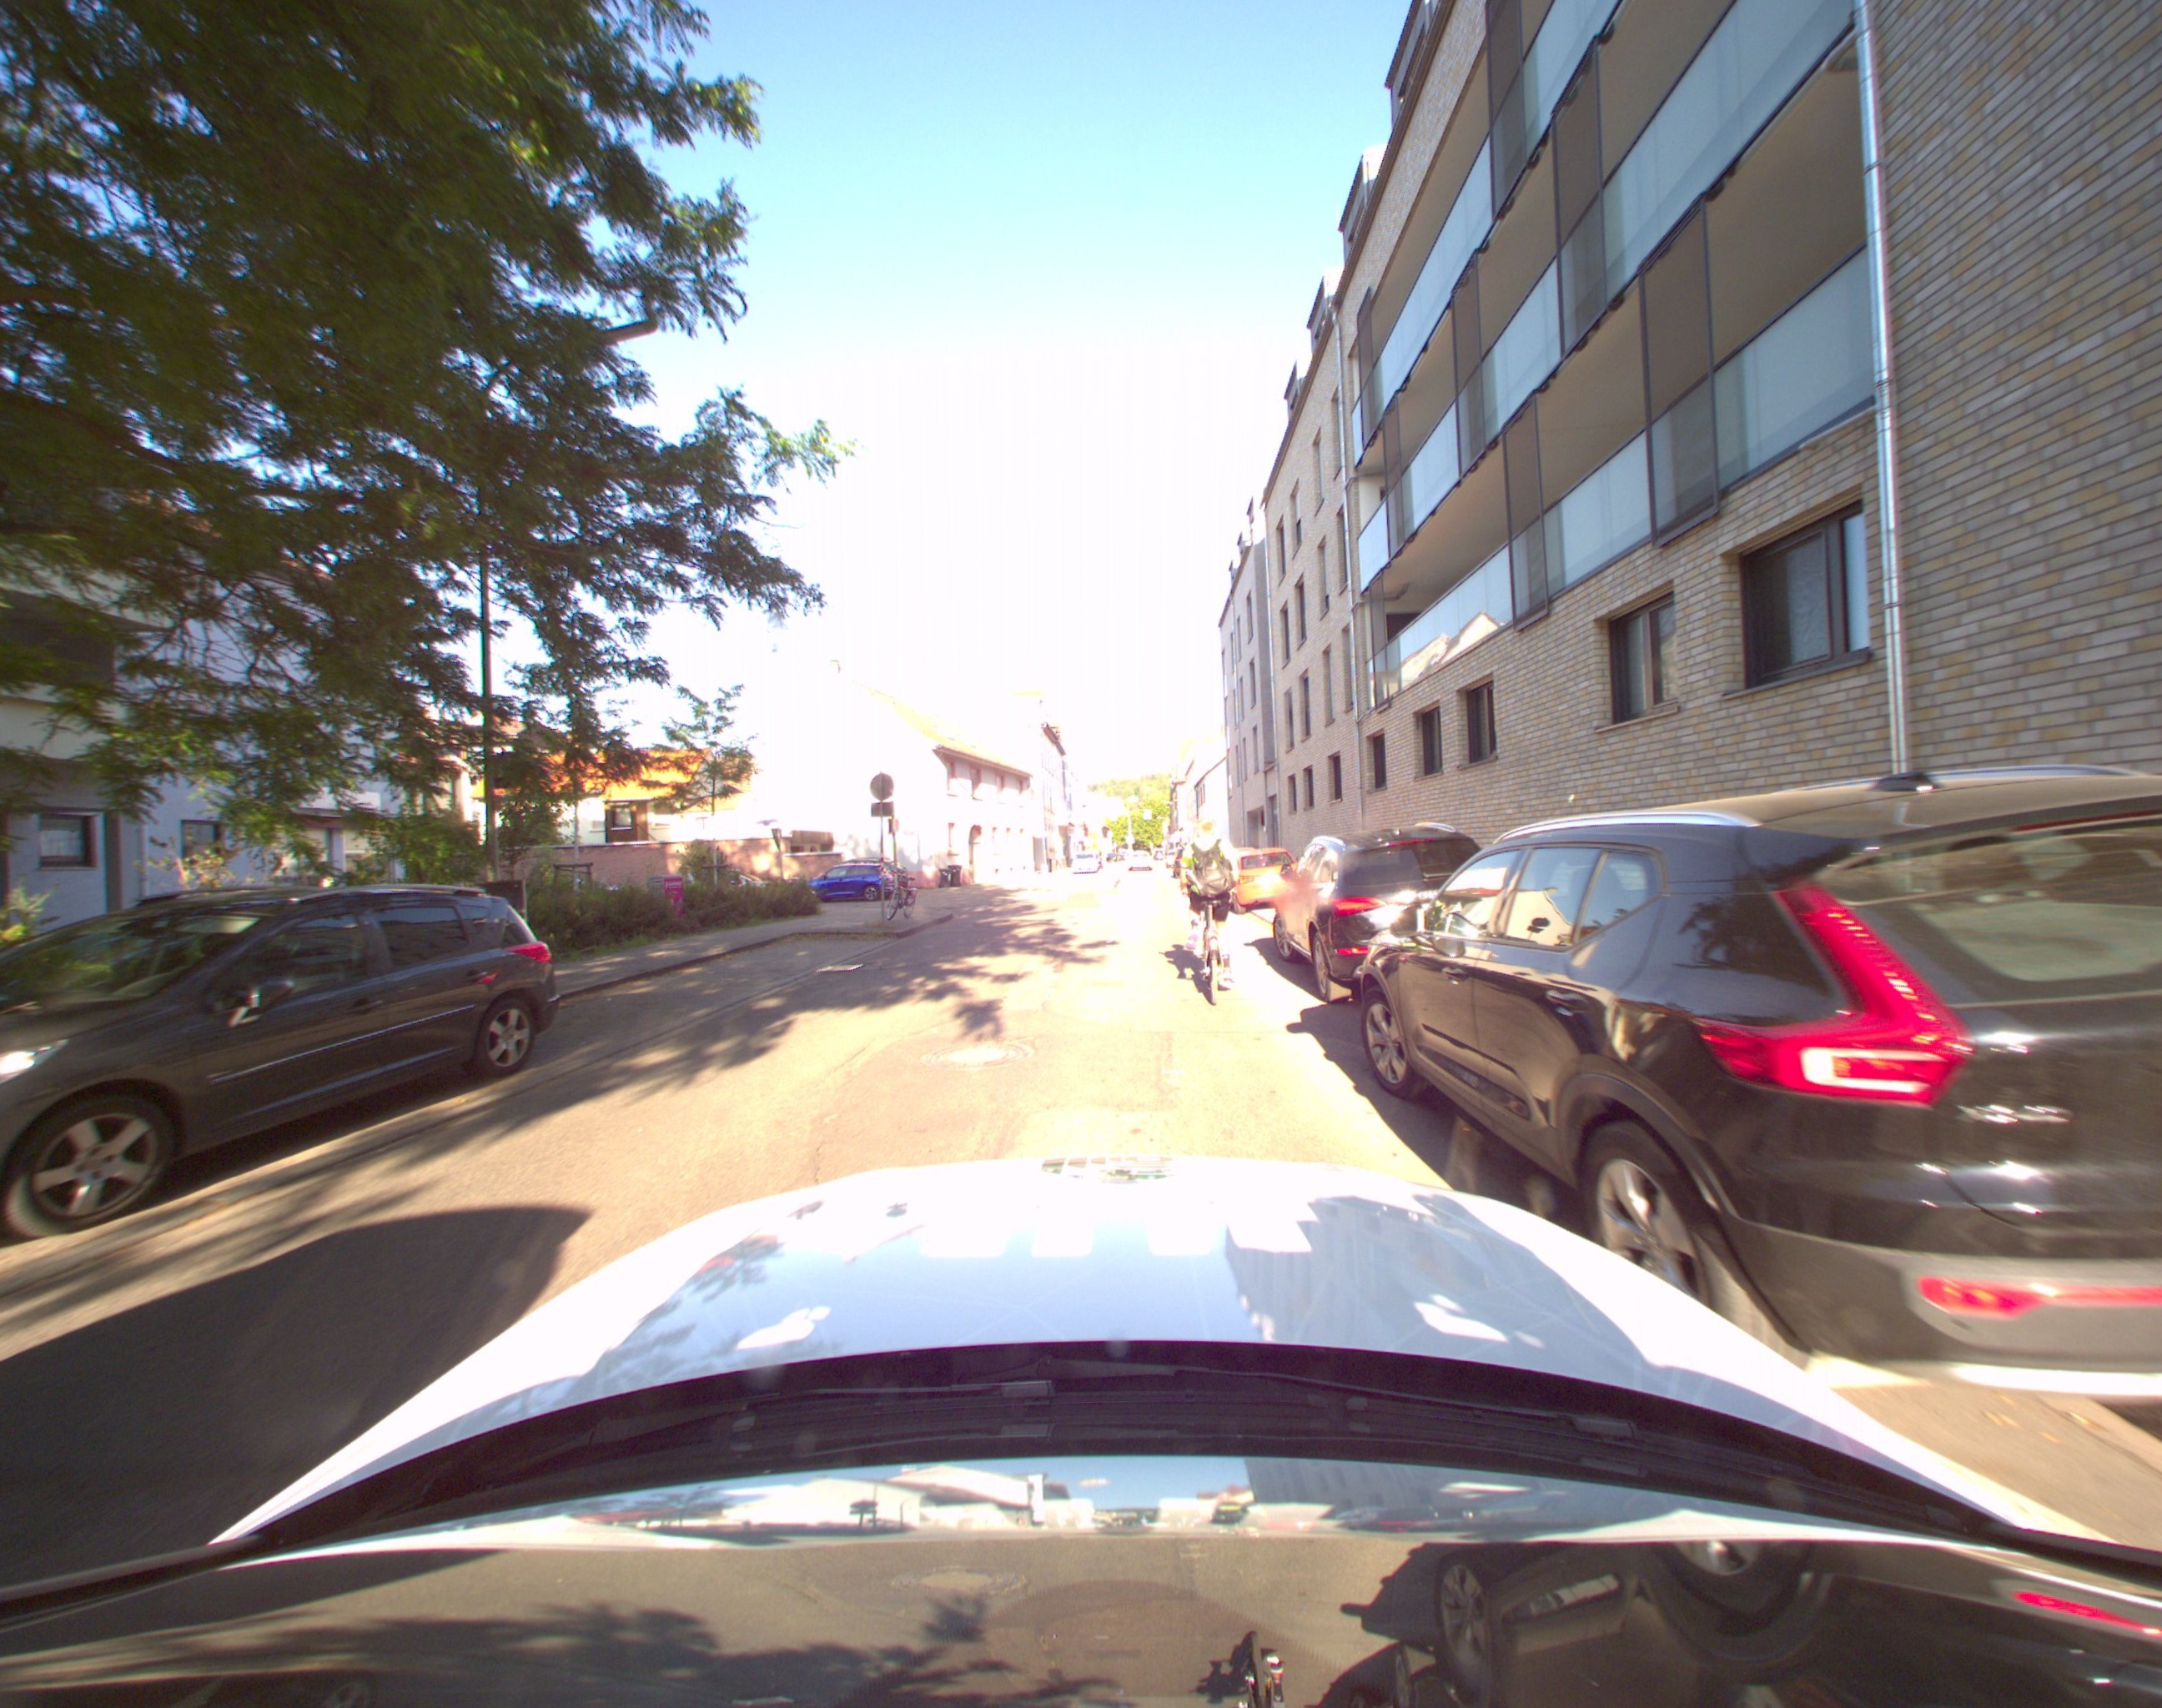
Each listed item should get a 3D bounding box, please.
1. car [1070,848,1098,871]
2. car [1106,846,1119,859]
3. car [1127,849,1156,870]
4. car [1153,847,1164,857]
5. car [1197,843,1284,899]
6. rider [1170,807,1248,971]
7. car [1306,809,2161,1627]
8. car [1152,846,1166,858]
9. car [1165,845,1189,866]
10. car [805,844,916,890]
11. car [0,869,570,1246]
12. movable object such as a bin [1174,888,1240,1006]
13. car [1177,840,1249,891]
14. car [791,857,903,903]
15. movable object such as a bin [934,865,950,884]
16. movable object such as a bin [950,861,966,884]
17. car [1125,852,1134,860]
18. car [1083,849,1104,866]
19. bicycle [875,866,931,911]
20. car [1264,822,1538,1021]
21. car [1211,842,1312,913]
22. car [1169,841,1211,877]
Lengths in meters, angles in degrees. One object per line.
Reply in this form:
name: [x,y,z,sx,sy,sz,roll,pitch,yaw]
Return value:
car: [0.289,0.379,60.760,1.986,1.648,5.223,-2,0,1]
car: [5.295,-0.283,137.021,1.986,2.013,4.003,-2,0,2]
car: [4.505,0.378,60.984,1.986,1.466,4.002,-2,0,2]
car: [13.572,-0.422,142.464,1.809,1.630,4.008,-3,1,7]
car: [4.800,0.454,25.109,1.985,1.505,4.370,-2,1,3]
rider: [1.285,0.342,8.354,0.651,1.562,1.083,1,-1,2]
car: [2.447,0.633,3.604,1.809,1.466,4.272,-2,0,2]
car: [12.588,-0.259,131.125,2.002,1.853,4.004,-1,1,3]
car: [7.789,0.100,66.457,1.733,1.492,4.445,-4,0,5]
car: [-9.781,0.545,36.319,4.343,1.794,1.991,1,3,4]
car: [-5.292,0.910,4.954,1.690,1.492,4.002,-2,0,2]
movable object such as a bin: [1.266,0.893,8.415,0.453,1.033,1.841,1,-1,2]
car: [4.797,0.360,30.229,1.986,1.653,4.764,-2,1,1]
car: [-9.297,1.019,32.564,3.750,1.530,2.003,-3,1,4]
movable object such as a bin: [-6.616,0.984,38.842,0.596,0.872,0.606,-2,0,1]
movable object such as a bin: [-5.976,0.890,39.720,0.596,1.094,0.752,-1,0,4]
car: [11.544,0.419,194.162,1.801,1.701,4.192,-4,0,0]
car: [1.188,0.299,77.295,1.723,1.499,3.962,-3,-1,3]
bicycle: [-4.280,0.808,19.736,0.700,1.003,1.945,-1,0,7]
car: [3.340,0.569,9.563,1.879,1.712,4.784,-2,1,8]
car: [4.341,0.511,20.163,1.705,1.404,4.077,-6,0,3]
car: [5.713,0.227,43.124,1.846,1.636,4.629,-5,0,4]
